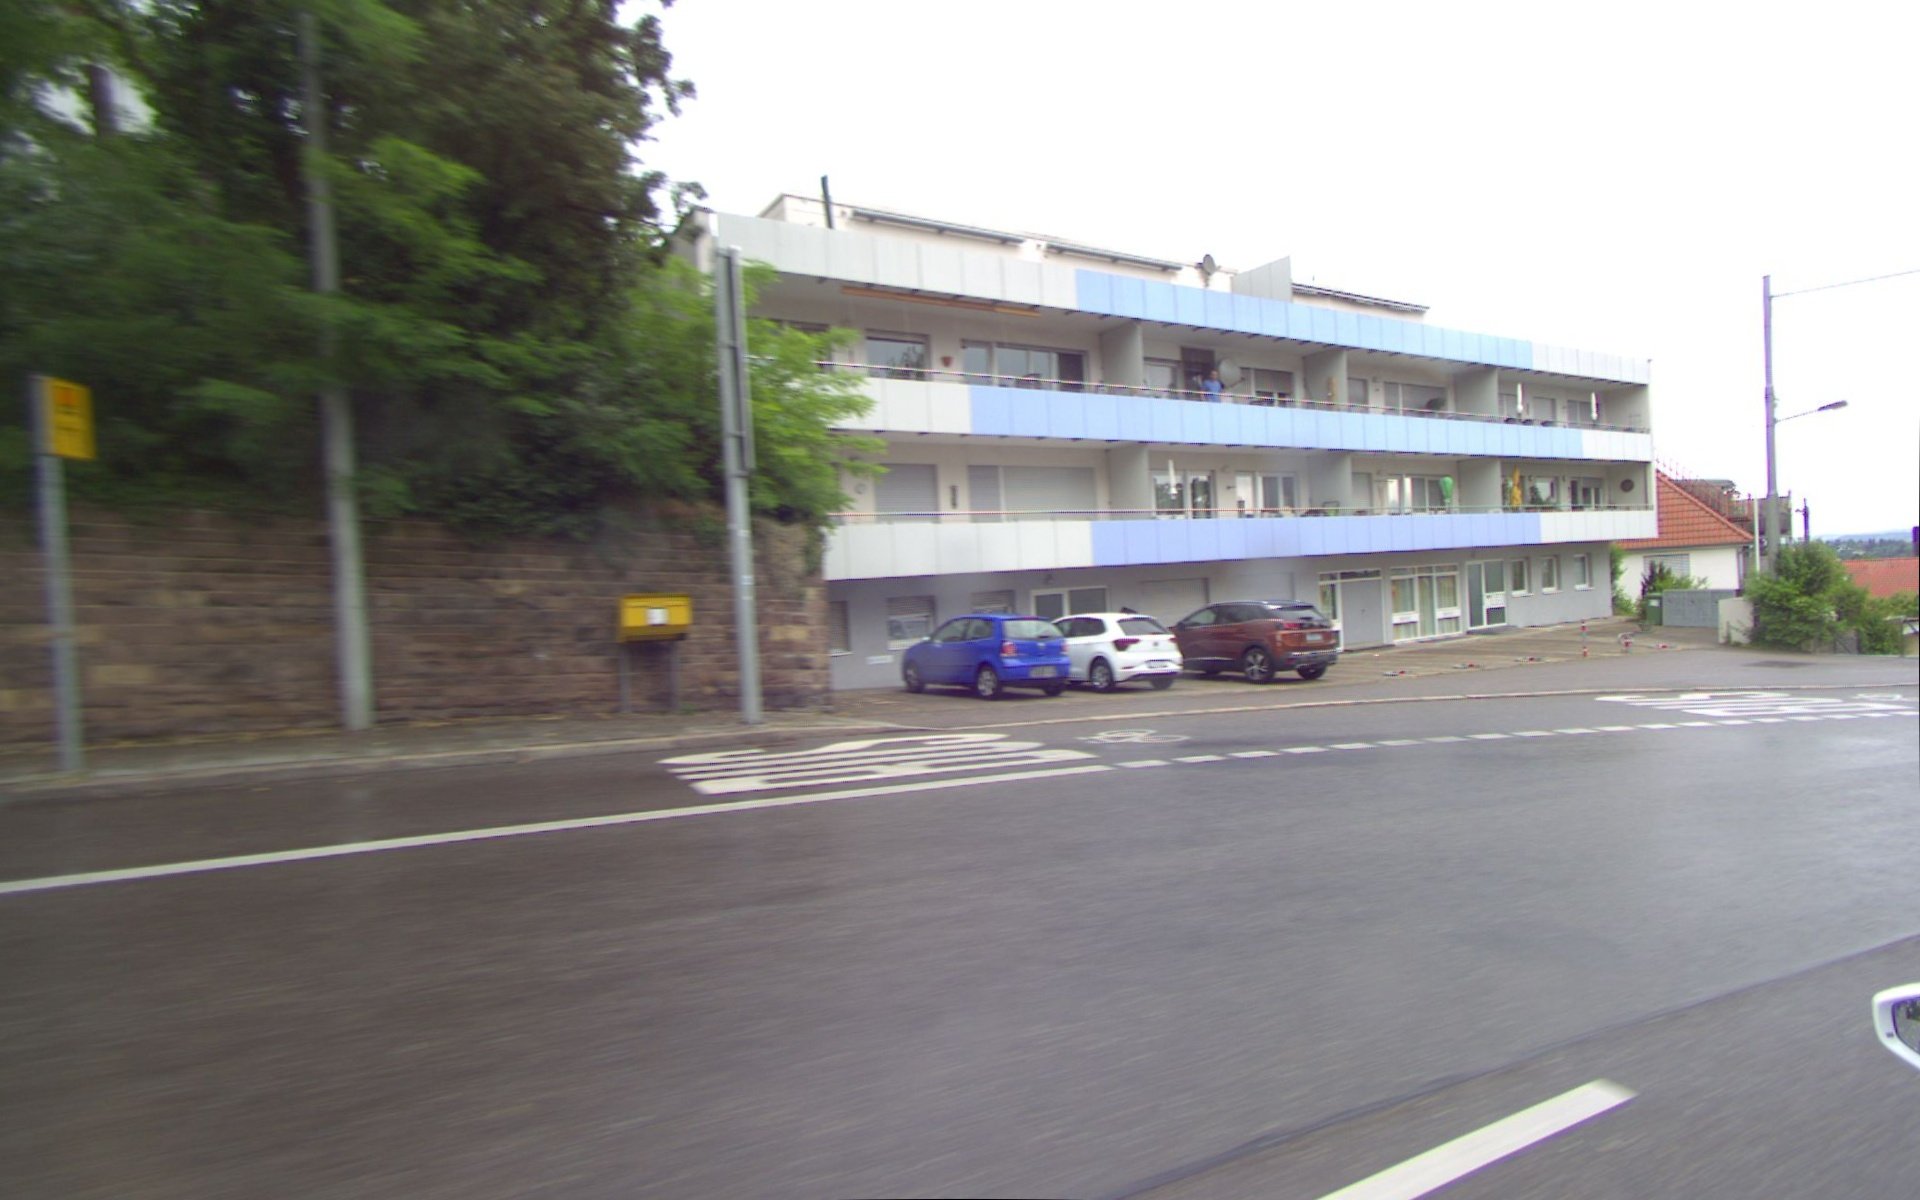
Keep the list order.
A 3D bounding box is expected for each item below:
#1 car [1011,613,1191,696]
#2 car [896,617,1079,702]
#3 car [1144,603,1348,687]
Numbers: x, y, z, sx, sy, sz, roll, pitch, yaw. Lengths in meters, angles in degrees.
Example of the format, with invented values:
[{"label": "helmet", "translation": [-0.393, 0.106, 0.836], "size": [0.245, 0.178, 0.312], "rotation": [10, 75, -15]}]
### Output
[{"label": "car", "translation": [2.645, 1.045, 19.559], "size": [1.689, 1.464, 3.413], "rotation": [1, -3, -32]}, {"label": "car", "translation": [0.425, 1.027, 18.413], "size": [1.621, 1.408, 3.407], "rotation": [1, -2, -36]}, {"label": "car", "translation": [5.813, 0.907, 20.814], "size": [1.698, 1.570, 3.899], "rotation": [1, -2, -34]}]
